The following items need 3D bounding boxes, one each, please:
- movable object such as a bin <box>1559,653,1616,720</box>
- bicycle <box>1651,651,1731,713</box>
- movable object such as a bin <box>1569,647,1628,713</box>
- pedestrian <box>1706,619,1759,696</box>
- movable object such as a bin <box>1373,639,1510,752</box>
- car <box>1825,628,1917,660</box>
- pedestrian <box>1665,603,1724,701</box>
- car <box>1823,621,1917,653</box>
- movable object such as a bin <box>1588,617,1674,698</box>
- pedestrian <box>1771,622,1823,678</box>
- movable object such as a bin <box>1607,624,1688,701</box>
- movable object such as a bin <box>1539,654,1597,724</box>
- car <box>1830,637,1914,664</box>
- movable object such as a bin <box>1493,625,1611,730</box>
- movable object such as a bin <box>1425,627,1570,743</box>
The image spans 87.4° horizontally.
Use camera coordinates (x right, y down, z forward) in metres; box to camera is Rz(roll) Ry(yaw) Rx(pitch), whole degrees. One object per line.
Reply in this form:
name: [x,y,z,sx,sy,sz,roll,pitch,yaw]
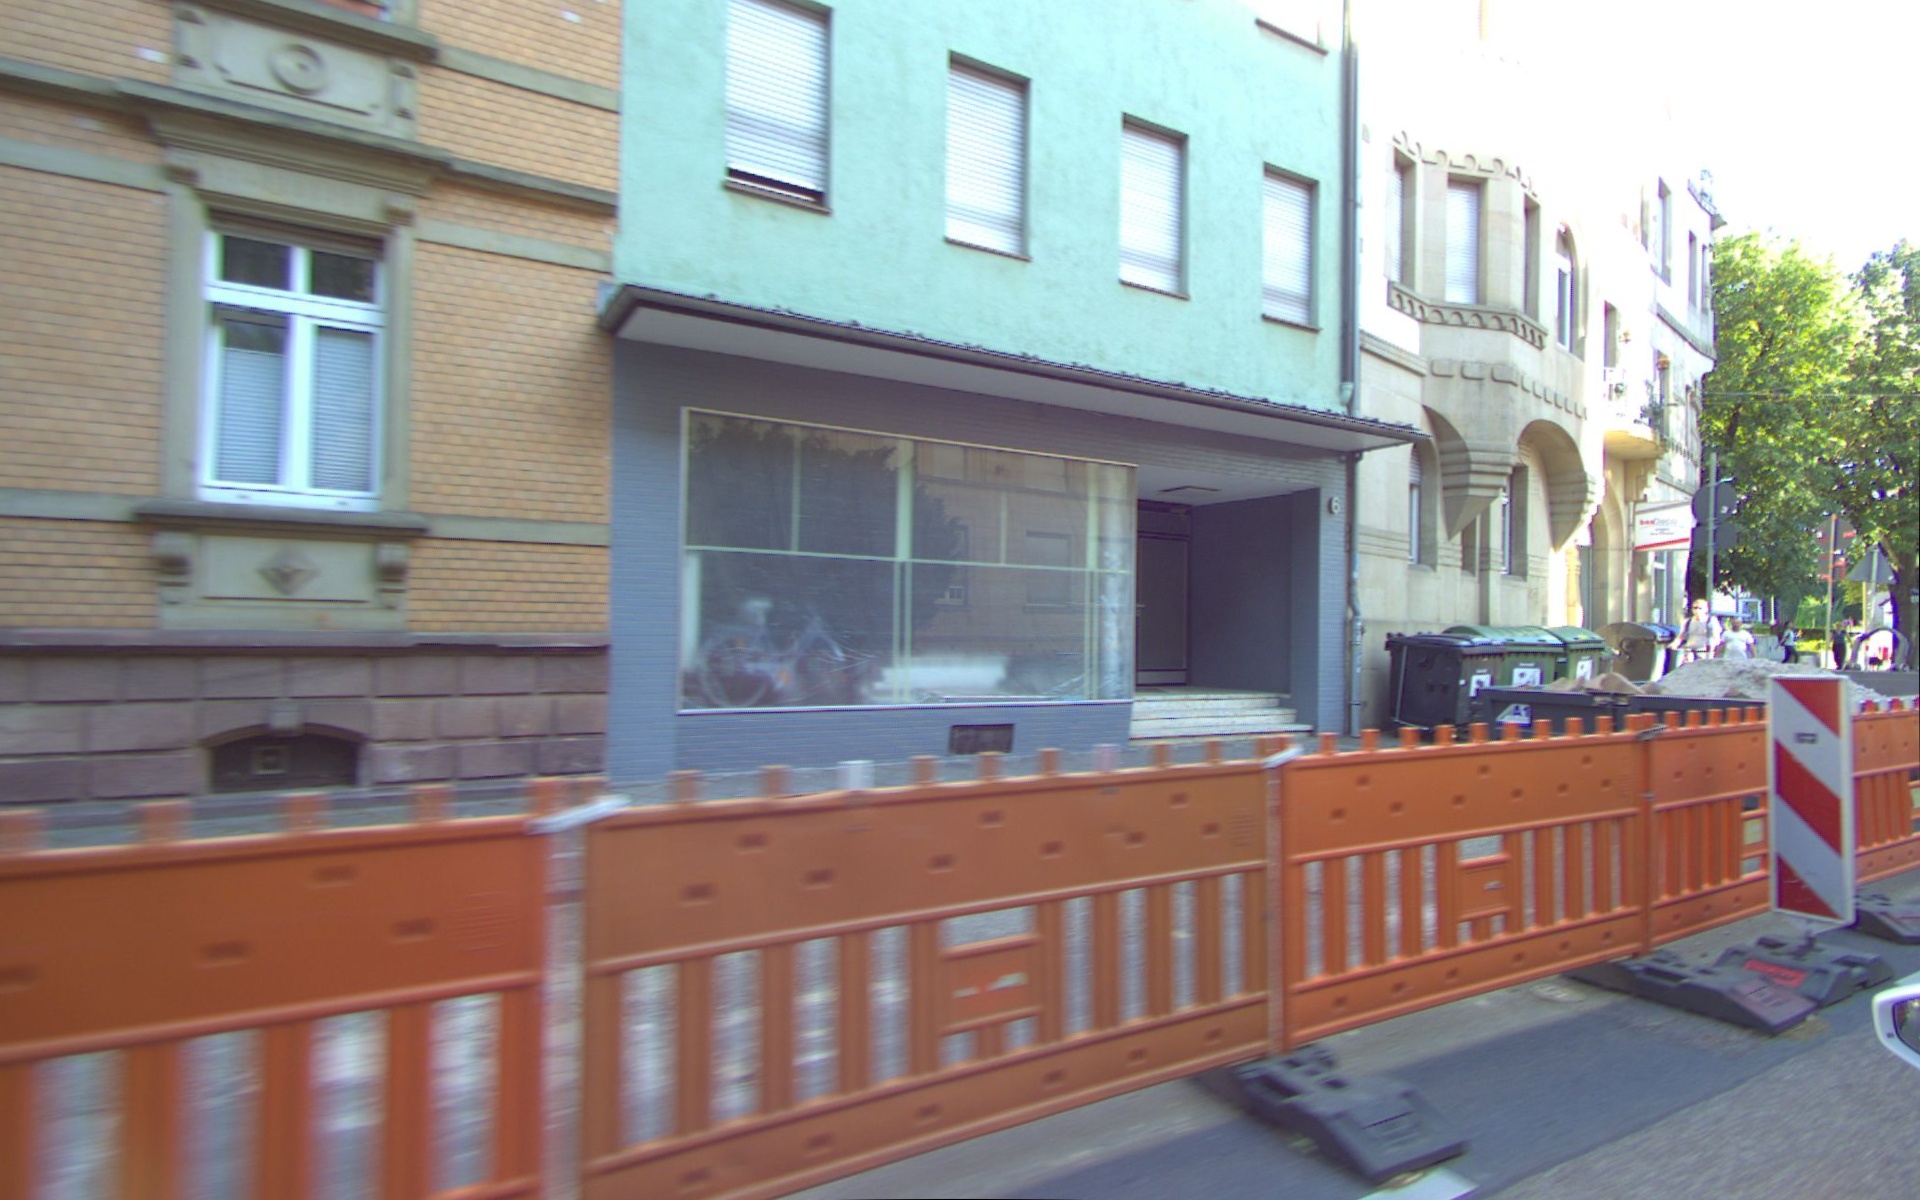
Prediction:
movable object such as a bin: [10.403,1.419,16.655,0.551,1.037,0.631,2,0,-39]
bicycle: [12.066,1.340,16.574,1.459,0.944,0.596,2,0,-35]
movable object such as a bin: [10.891,1.345,17.129,0.757,1.055,0.631,2,0,-39]
pedestrian: [17.010,1.242,22.104,0.812,1.625,0.912,2,0,43]
movable object such as a bin: [6.093,1.164,12.710,1.323,1.281,1.074,2,0,-38]
car: [60.796,2.910,67.095,1.982,1.876,4.280,2,0,-38]
pedestrian: [12.158,0.844,16.634,0.610,1.576,0.594,2,0,-34]
car: [62.876,2.535,69.475,2.102,1.991,4.623,2,0,-42]
movable object such as a bin: [12.757,1.066,19.095,1.398,1.450,1.072,2,0,-44]
pedestrian: [27.881,1.643,33.459,1.179,1.805,1.037,2,-1,-33]
movable object such as a bin: [13.744,1.220,20.084,1.337,1.450,1.072,2,0,-44]
movable object such as a bin: [9.883,1.434,16.333,0.583,1.055,0.631,2,0,-39]
car: [58.635,3.221,64.610,1.987,1.498,3.950,2,-1,-45]
movable object such as a bin: [8.843,1.121,14.995,1.395,1.450,1.074,2,0,-39]
movable object such as a bin: [7.288,1.128,13.653,1.387,1.450,1.080,2,0,-23]
